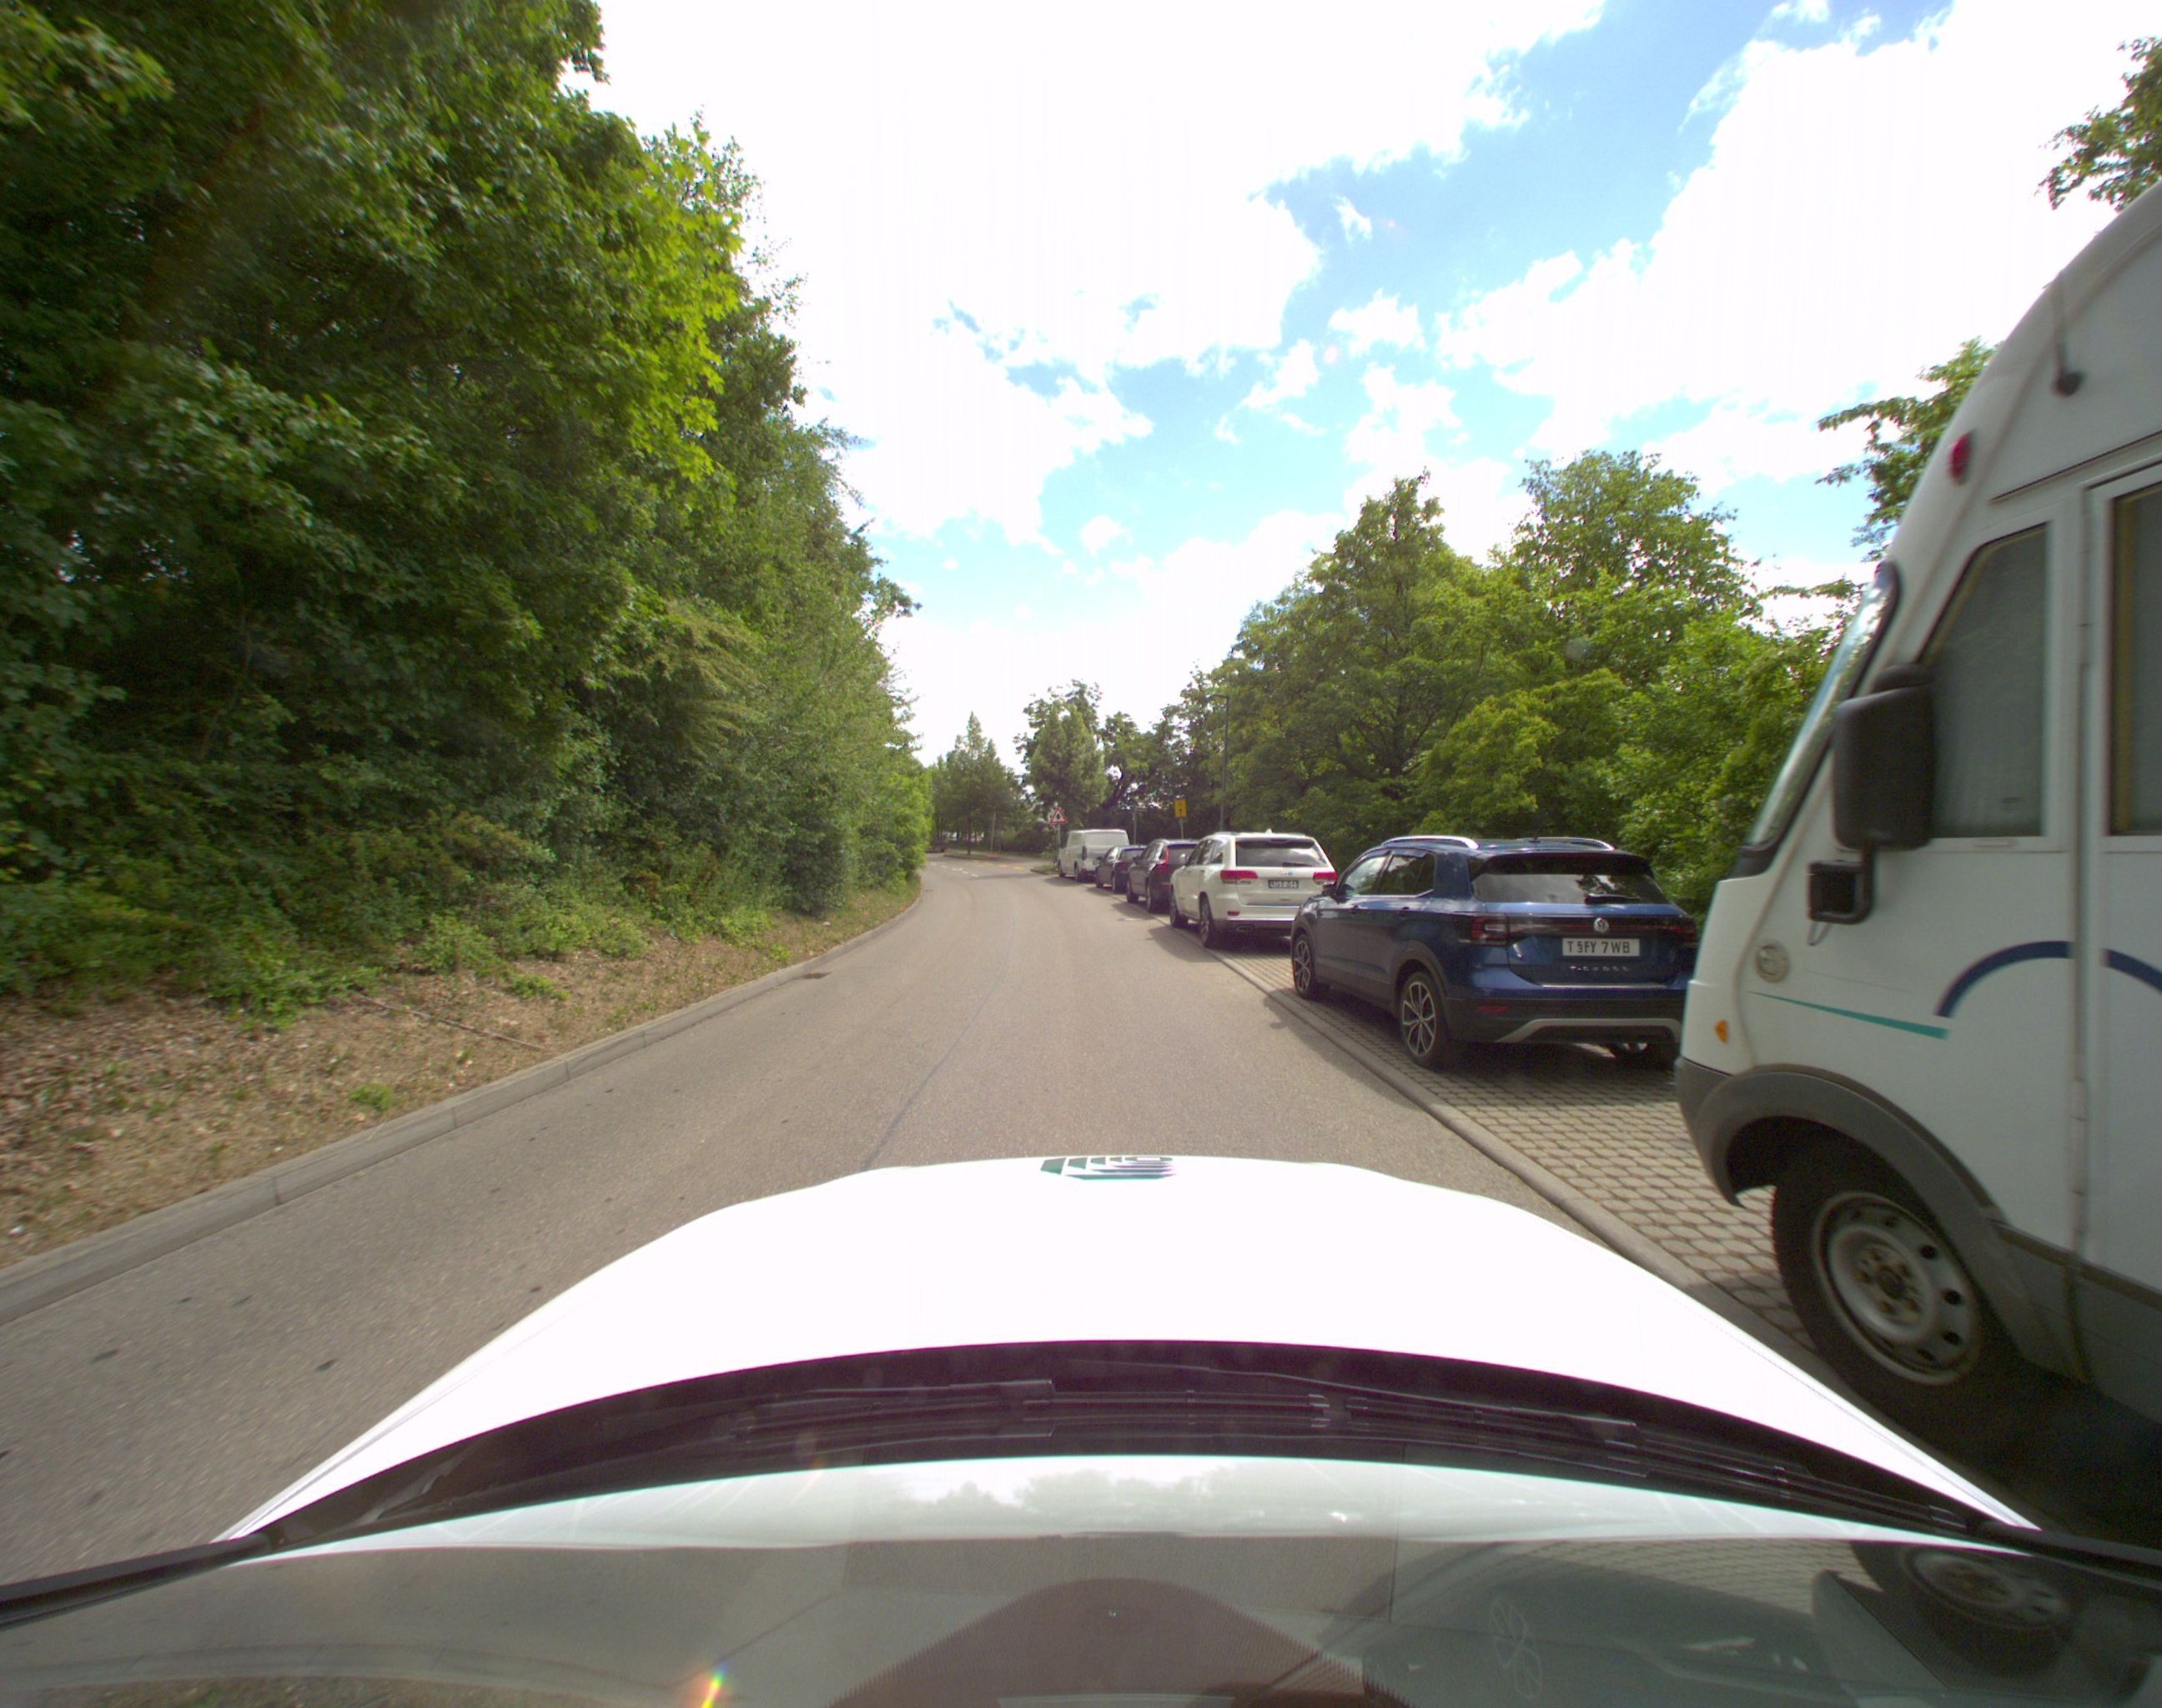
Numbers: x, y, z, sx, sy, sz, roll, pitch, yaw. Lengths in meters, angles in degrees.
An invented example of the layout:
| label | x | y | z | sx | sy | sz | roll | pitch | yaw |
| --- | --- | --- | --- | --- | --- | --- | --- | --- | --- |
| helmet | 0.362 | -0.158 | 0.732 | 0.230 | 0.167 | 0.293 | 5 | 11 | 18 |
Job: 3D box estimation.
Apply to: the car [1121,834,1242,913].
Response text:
| label | x | y | z | sx | sy | sz | roll | pitch | yaw |
| --- | --- | --- | --- | --- | --- | --- | --- | --- | --- |
| car | 2.270 | 0.364 | 19.584 | 1.990 | 1.626 | 4.271 | -2 | 1 | -5 |

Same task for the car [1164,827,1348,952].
| label | x | y | z | sx | sy | sz | roll | pitch | yaw |
| --- | --- | --- | --- | --- | --- | --- | --- | --- | --- |
| car | 2.650 | 0.460 | 13.519 | 1.867 | 1.689 | 4.575 | 2 | 1 | -2 |

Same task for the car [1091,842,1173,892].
| label | x | y | z | sx | sy | sz | roll | pitch | yaw |
| --- | --- | --- | --- | --- | --- | --- | --- | --- | --- |
| car | 1.539 | 0.369 | 26.159 | 1.797 | 1.464 | 3.988 | 0 | 1 | -9 |

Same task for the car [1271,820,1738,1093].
| label | x | y | z | sx | sy | sz | roll | pitch | yaw |
| --- | --- | --- | --- | --- | --- | --- | --- | --- | --- |
| car | 3.005 | 0.610 | 6.844 | 1.706 | 1.591 | 3.996 | 1 | 0 | -2 |

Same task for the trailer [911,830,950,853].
| label | x | y | z | sx | sy | sz | roll | pitch | yaw |
| --- | --- | --- | --- | --- | --- | --- | --- | --- | --- |
| trailer | -11.661 | -0.994 | 63.059 | 1.795 | 1.525 | 3.964 | -1 | 4 | -29 |

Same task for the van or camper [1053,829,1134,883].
| label | x | y | z | sx | sy | sz | roll | pitch | yaw |
| --- | --- | --- | --- | --- | --- | --- | --- | --- | --- |
| van or camper | 0.385 | 0.001 | 31.958 | 1.995 | 1.920 | 5.243 | -1 | 2 | -13 |
